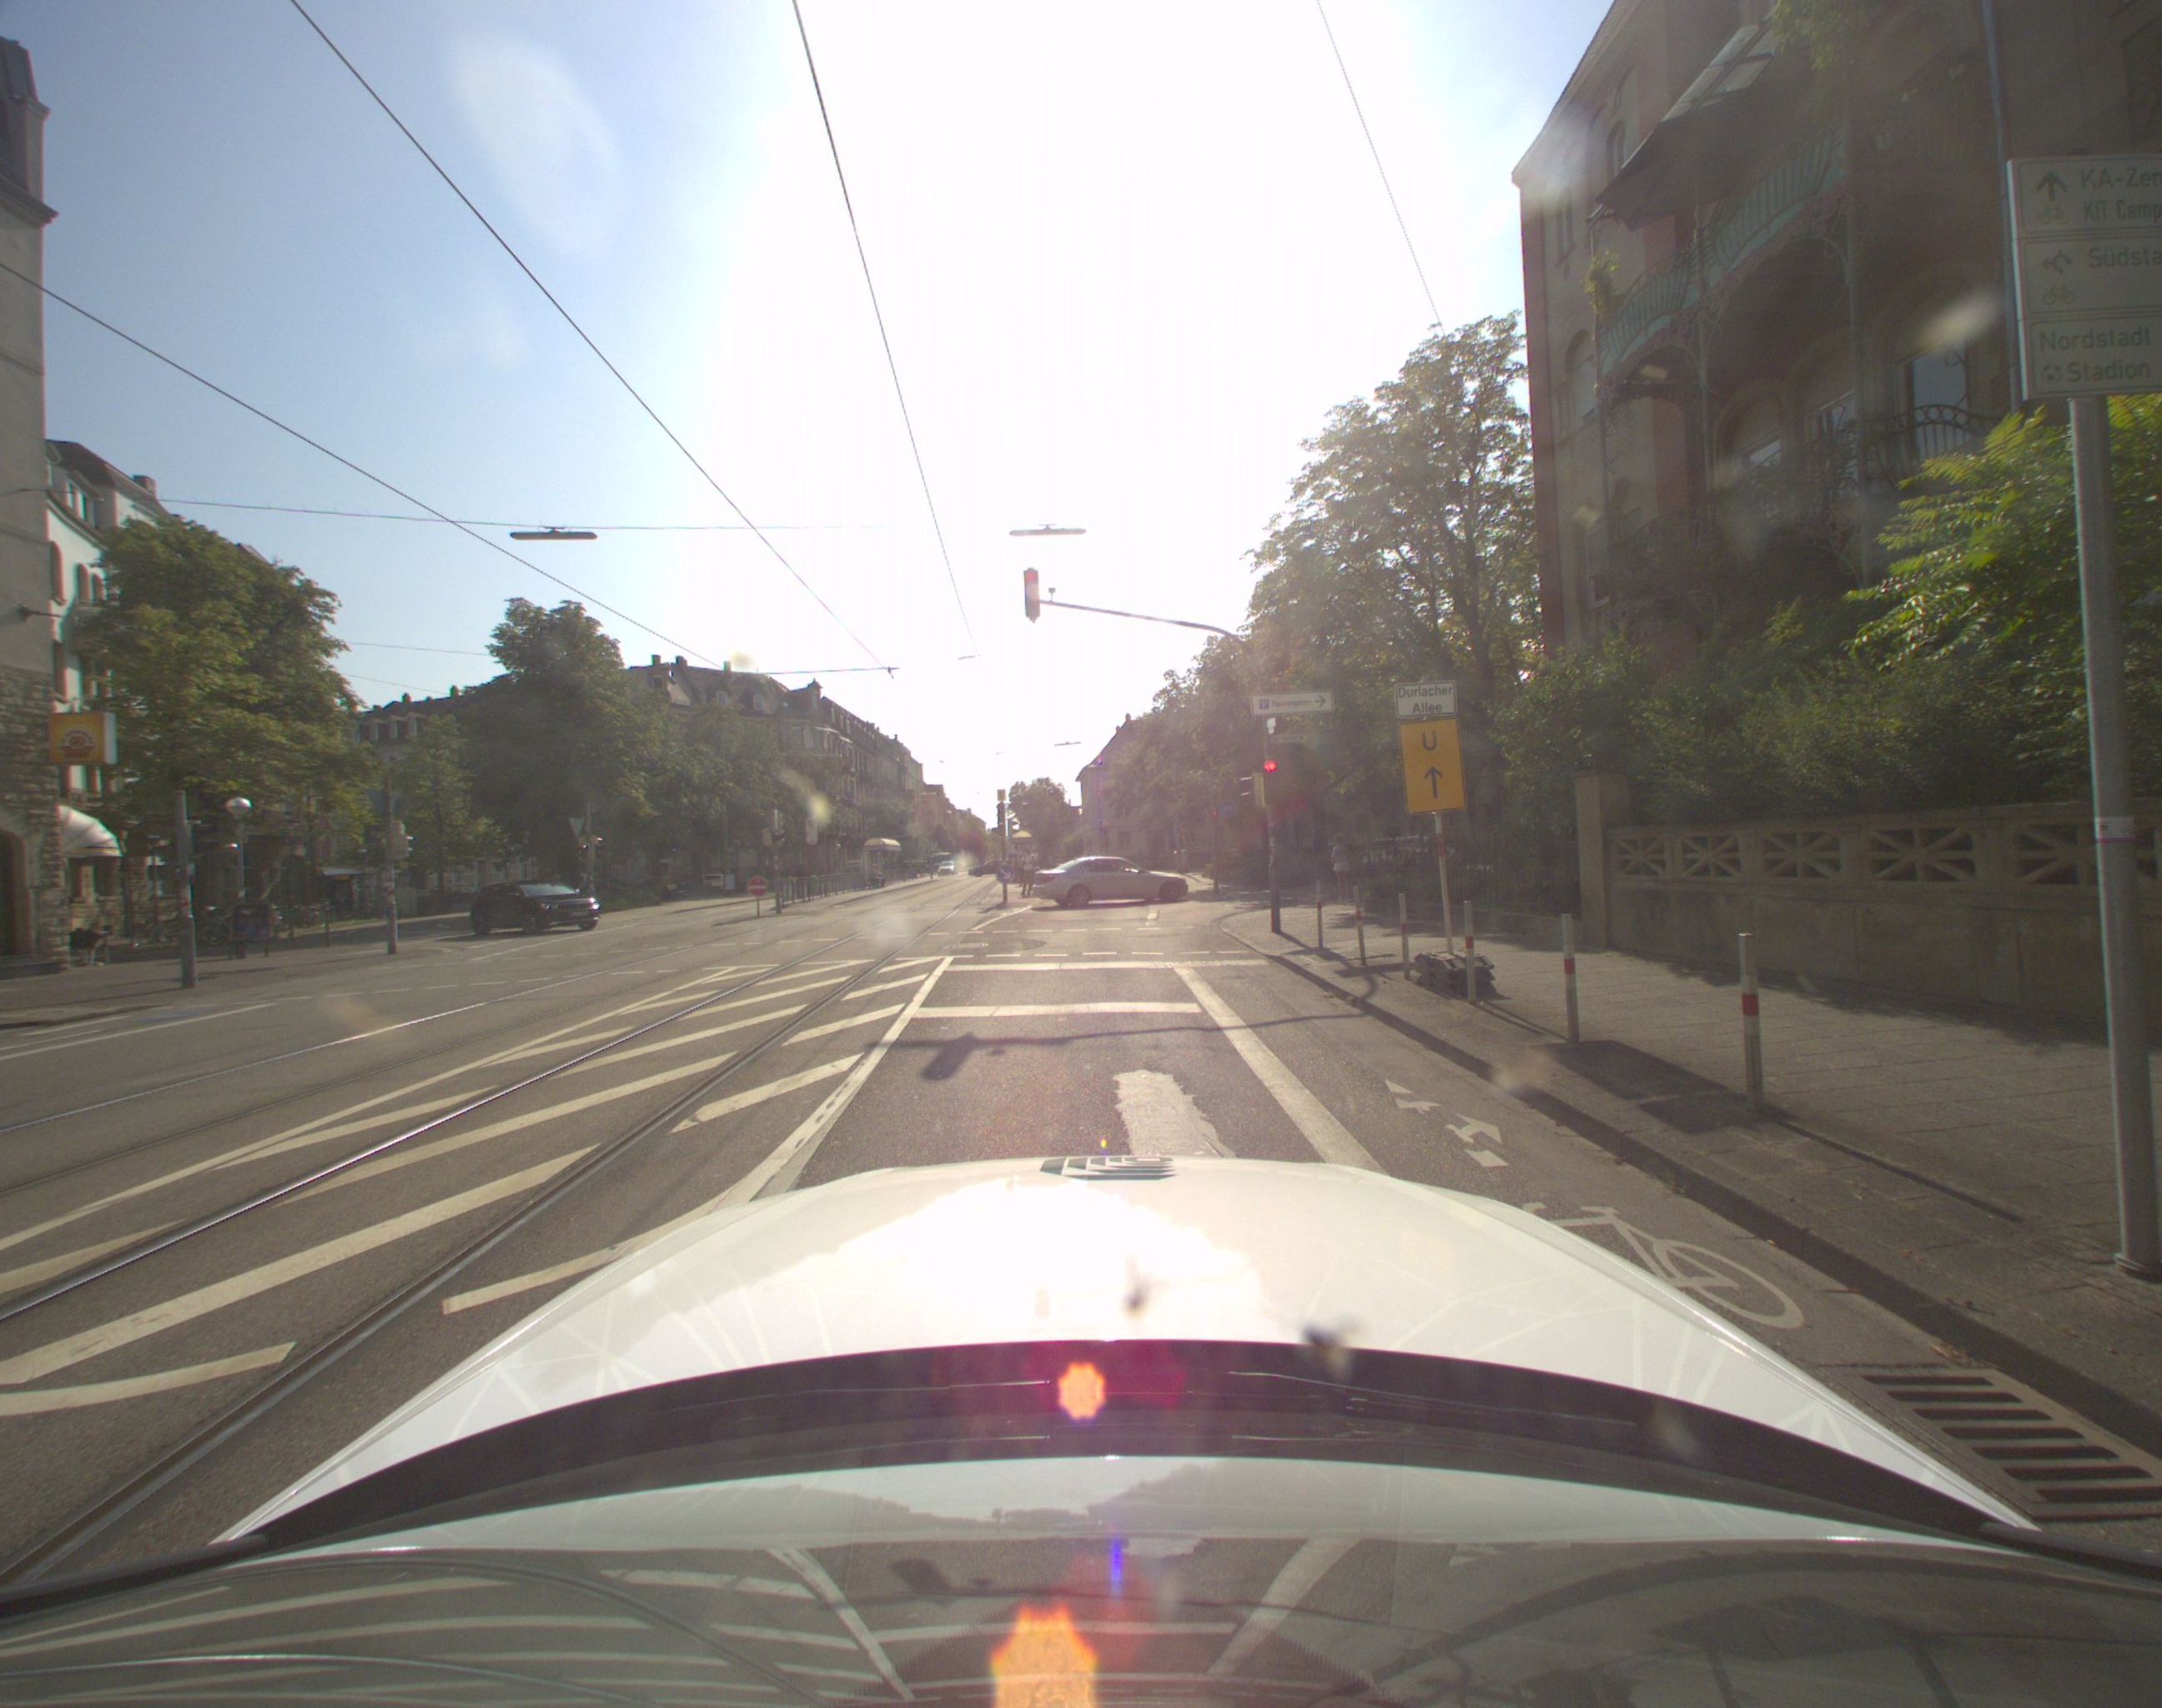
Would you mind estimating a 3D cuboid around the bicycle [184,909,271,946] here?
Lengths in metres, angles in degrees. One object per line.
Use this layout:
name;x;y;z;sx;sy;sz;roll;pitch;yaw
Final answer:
bicycle;-27.768;2.378;26.541;1.889;1.034;0.563;-2;-1;-43

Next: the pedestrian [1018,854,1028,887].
pedestrian;-3.196;0.894;44.963;0.542;1.759;0.533;0;2;-3

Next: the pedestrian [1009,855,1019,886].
pedestrian;-3.832;0.924;46.342;0.531;1.759;0.544;0;2;-2

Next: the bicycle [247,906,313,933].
bicycle;-33.906;2.768;34.494;1.910;0.980;0.678;-2;-1;-38

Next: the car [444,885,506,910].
car;-48.641;3.485;65.422;3.955;1.828;2.009;-3;0;18

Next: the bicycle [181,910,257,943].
bicycle;-30.502;2.551;28.848;1.815;0.977;0.652;-2;-1;-44

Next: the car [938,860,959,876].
car;-14.898;1.603;91.422;1.797;1.653;3.639;-3;0;-2

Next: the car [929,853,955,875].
car;-18.165;1.327;106.316;2.339;2.662;5.105;-3;0;0

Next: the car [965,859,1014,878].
car;-8.410;1.336;75.168;4.314;1.569;1.997;-3;0;-5

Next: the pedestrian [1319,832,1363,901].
pedestrian;6.772;0.334;21.239;0.750;1.731;0.768;-3;-1;-12

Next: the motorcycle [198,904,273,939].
motorcycle;-32.185;2.545;31.029;1.884;1.154;0.601;-2;-1;-38

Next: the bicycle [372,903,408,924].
bicycle;-36.003;3.081;42.446;0.423;0.978;1.768;-3;0;-4

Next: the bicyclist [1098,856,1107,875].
bicyclist;1.661;0.865;62.445;0.557;1.416;0.870;-3;0;-5

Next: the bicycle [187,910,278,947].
bicycle;-26.640;2.326;25.588;0.562;1.003;1.890;-3;-1;33

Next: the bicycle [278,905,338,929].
bicycle;-35.200;2.852;37.114;1.879;0.935;0.634;-2;-1;-22

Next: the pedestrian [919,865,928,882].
pedestrian;-16.973;2.118;87.766;0.748;1.731;0.771;-3;0;-1

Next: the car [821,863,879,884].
car;-20.135;1.714;71.139;4.359;1.569;1.976;-3;0;-40

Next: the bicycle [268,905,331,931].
bicycle;-34.336;2.791;35.829;1.910;0.980;0.678;-2;-1;-38

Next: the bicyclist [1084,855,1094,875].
bicyclist;0.629;0.858;62.947;0.628;1.507;0.677;-3;0;-5

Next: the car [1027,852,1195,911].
car;0.895;0.790;24.975;4.783;1.466;1.859;-3;0;-18

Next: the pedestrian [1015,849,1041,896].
pedestrian;-2.032;0.689;31.241;0.693;1.725;0.753;1;2;29

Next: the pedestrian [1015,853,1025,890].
pedestrian;-3.005;0.854;40.154;0.503;1.759;0.533;0;2;-3

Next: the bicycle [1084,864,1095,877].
bicycle;0.642;1.248;62.946;0.628;0.978;1.767;-3;0;-5

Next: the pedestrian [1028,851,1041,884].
pedestrian;-2.517;0.747;44.386;0.707;1.759;0.533;0;2;-4

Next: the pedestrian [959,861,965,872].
pedestrian;-19.880;2.127;136.016;0.750;1.731;0.768;-3;-1;-12

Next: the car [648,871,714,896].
car;-30.319;2.220;61.751;4.350;1.569;1.980;-3;0;-30

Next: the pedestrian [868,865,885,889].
pedestrian;-11.847;1.321;47.252;0.827;1.359;0.774;-3;0;-8

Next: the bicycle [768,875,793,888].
bicycle;-25.163;2.261;68.161;1.859;0.958;0.544;-3;0;-24

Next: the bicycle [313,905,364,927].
bicycle;-37.396;3.118;41.050;1.773;0.978;0.515;-3;0;-26

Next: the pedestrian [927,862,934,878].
pedestrian;-17.659;1.879;95.671;0.750;1.731;0.768;-3;-1;-12

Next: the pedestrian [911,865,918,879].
pedestrian;-20.729;2.254;101.605;0.750;1.731;0.768;-3;-1;-12

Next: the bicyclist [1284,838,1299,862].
bicyclist;16.670;-0.341;64.500;0.977;1.857;0.496;-3;-1;36

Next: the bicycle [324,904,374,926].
bicycle;-37.574;3.124;41.816;1.774;0.978;0.600;-3;0;-27

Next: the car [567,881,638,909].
car;-35.701;3.047;60.830;3.974;1.828;2.000;-3;0;0

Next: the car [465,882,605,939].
car;-16.460;1.692;24.516;4.174;1.515;1.622;-3;1;27

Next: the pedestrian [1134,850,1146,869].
pedestrian;5.795;0.530;80.289;0.883;1.740;0.780;-3;-1;20

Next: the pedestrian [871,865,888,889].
pedestrian;-11.925;1.331;48.225;0.827;1.359;0.774;-3;0;-8

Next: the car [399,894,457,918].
car;-56.811;4.484;70.876;3.955;1.828;2.009;-3;0;18

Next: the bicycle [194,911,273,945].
bicycle;-28.701;2.478;27.613;1.815;0.984;0.563;-2;-1;-44

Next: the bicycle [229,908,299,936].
bicycle;-33.214;2.752;33.136;1.921;0.935;0.730;-2;-1;-38

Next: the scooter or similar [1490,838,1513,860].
scooter or similar;24.282;-0.284;47.024;1.059;1.197;0.462;-6;-1;28

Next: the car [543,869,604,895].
car;-40.910;2.274;65.650;3.955;1.828;2.009;-3;0;18

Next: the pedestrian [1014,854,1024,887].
pedestrian;-3.362;0.900;44.143;0.542;1.759;0.533;0;2;-3

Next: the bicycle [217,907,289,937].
bicycle;-32.551;2.665;32.057;1.887;1.027;0.656;-2;-1;-38

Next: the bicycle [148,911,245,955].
bicycle;-26.404;2.337;24.359;0.563;1.113;1.887;-3;-1;17

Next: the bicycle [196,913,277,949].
bicycle;-25.528;2.310;24.641;0.473;0.920;1.618;-3;-1;27

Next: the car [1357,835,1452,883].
car;12.525;0.160;31.414;1.974;1.630;4.359;-3;0;41

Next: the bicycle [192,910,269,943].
bicycle;-29.611;2.502;28.391;1.815;0.983;0.652;-2;-1;-44

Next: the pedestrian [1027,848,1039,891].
pedestrian;-2.102;0.668;35.506;0.503;1.834;0.533;0;2;-3

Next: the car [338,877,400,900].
car;-63.491;3.045;72.680;3.963;1.828;2.005;-3;0;9

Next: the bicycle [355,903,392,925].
bicycle;-36.337;3.087;41.836;0.423;0.978;1.768;-3;0;-4

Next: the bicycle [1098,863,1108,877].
bicycle;1.687;1.234;62.430;0.557;0.978;1.853;-3;0;-5

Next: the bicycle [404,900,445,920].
bicycle;-36.843;3.127;45.711;1.756;0.978;0.606;-3;0;3

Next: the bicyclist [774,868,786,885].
bicyclist;-25.190;1.893;68.169;0.822;1.328;0.544;-3;0;-24
